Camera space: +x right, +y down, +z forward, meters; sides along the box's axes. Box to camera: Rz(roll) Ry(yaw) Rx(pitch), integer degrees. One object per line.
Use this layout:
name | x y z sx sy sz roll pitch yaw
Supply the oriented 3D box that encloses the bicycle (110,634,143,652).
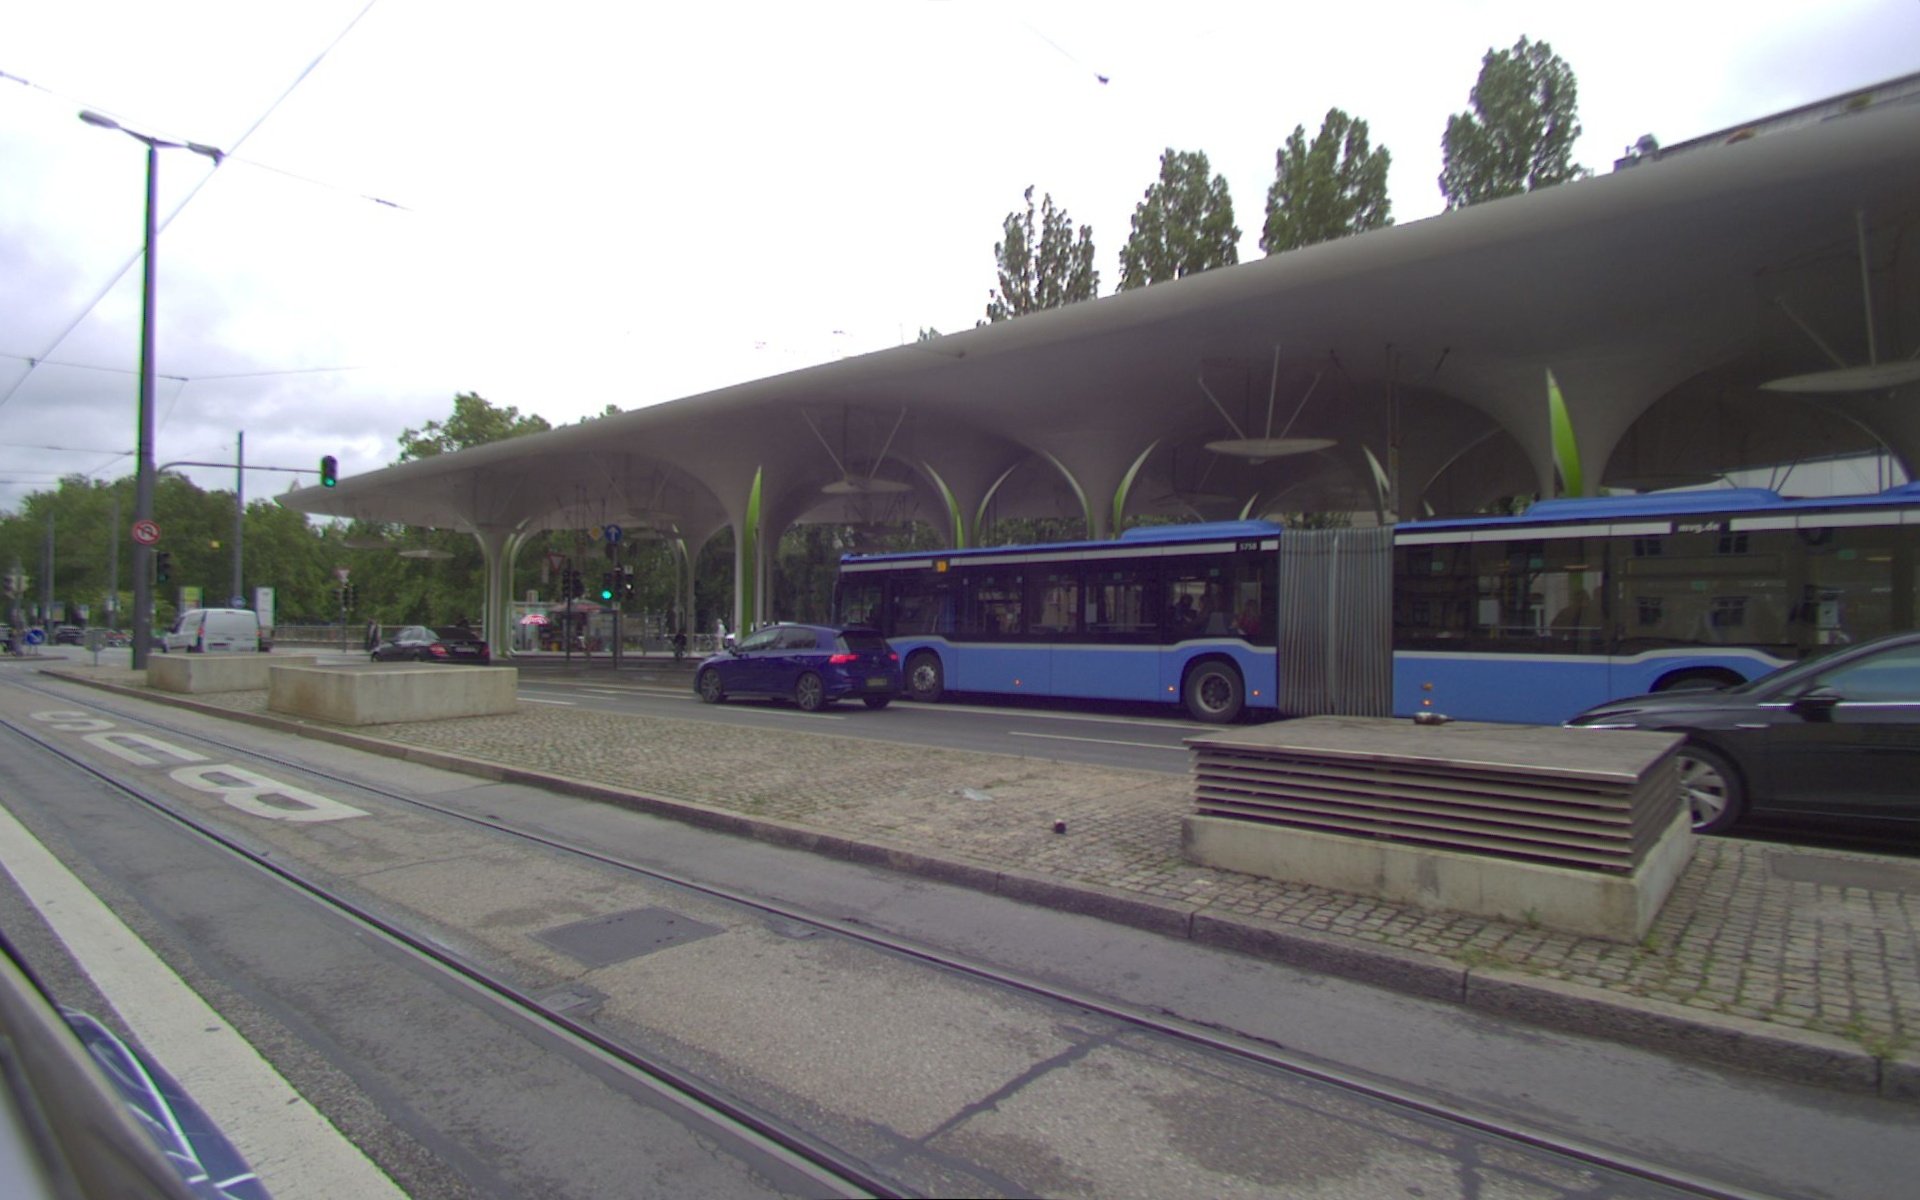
bicycle | -57.901 2.985 70.295 0.560 1.181 1.675 -1 -2 31

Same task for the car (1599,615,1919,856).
car | 6.577 0.815 6.482 4.030 1.427 1.825 -1 -2 38

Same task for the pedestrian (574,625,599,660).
pedestrian | -17.727 2.016 48.030 0.831 1.622 0.745 0 -2 13

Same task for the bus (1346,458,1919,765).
bus | 8.912 0.215 12.253 7.510 3.031 2.632 -2 -4 42

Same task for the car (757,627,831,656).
car | -9.732 2.404 59.358 3.937 1.628 1.833 1 -2 -41

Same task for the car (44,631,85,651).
car | -72.907 3.336 82.409 4.099 1.582 1.973 -2 -2 41

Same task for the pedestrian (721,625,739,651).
pedestrian | -16.805 2.792 74.020 0.981 1.881 0.899 -2 -2 41

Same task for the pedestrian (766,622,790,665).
pedestrian | -6.720 1.592 37.368 0.633 1.557 0.589 -1 -2 23

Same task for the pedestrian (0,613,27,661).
pedestrian | -36.864 1.423 39.147 0.891 1.825 0.855 0 -1 21

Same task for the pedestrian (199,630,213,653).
pedestrian | -50.633 2.794 67.943 0.588 1.570 0.624 -2 -3 40

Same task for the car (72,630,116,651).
car | -65.066 3.052 76.018 4.230 1.537 1.840 -2 -3 41

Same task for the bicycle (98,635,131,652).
bicycle | -59.469 3.027 71.157 0.560 1.181 1.675 -1 -2 31

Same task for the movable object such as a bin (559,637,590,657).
movable object such as a bin | -21.237 2.591 55.761 0.956 1.092 1.319 -2 -2 40

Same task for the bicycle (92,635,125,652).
bicycle | -60.505 3.055 71.916 0.504 1.181 1.674 -2 -2 34

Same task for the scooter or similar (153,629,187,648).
scooter or similar | -51.201 2.470 65.612 0.561 1.181 1.671 -1 -2 38

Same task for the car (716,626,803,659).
car | -12.198 2.554 61.711 4.852 1.962 1.874 2 -2 -39

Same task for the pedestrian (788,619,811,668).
pedestrian | -5.769 1.569 36.403 0.661 1.741 0.813 1 -2 -20

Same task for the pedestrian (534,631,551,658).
pedestrian | -24.495 2.605 59.376 0.728 1.612 0.799 1 -2 -34

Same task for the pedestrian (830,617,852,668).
pedestrian | -4.468 1.599 37.914 0.701 1.887 0.881 0 -2 -14

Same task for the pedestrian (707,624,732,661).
pedestrian | -13.533 2.391 56.992 0.989 2.029 1.028 2 -2 -41

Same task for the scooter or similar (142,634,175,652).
scooter or similar | -53.716 2.873 67.832 0.558 1.181 1.681 -1 -2 22

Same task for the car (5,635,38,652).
car | -89.014 4.103 95.960 3.998 1.542 1.868 -2 -3 41

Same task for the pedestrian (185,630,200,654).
pedestrian | -50.973 2.803 67.192 0.588 1.570 0.624 -2 -3 40

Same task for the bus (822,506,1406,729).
bus | 2.101 0.396 18.144 10.506 3.031 2.633 -1 -4 40

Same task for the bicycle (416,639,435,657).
bicycle | -29.107 2.603 55.089 0.473 0.901 1.852 1 -2 -41

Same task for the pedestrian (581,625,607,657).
pedestrian | -20.482 2.265 56.658 0.956 1.776 1.018 -2 -2 41

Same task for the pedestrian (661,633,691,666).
pedestrian | -10.801 1.863 38.434 0.799 1.239 1.274 1 -2 -30

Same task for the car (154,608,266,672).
car | -23.457 1.256 31.597 4.213 1.869 1.768 -1 -3 39

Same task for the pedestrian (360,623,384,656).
pedestrian | -29.546 1.978 50.879 0.737 1.641 0.734 -1 -2 20

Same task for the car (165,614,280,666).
car | -28.977 1.566 39.677 6.150 1.902 2.153 -1 -3 40

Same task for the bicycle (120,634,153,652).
bicycle | -56.796 2.956 69.796 0.560 1.181 1.675 -1 -2 31

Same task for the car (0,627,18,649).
car | -73.114 2.866 76.679 4.673 1.651 1.844 -1 -4 40

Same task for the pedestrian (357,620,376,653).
pedestrian | -31.729 1.935 54.122 0.725 1.729 0.862 1 -2 -38

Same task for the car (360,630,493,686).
car | -14.855 1.542 28.081 4.609 1.389 1.656 -1 -1 40

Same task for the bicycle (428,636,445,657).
bicycle | -28.676 2.520 55.426 0.472 1.104 1.853 1 -2 -38

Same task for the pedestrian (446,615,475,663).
pedestrian | -19.716 1.537 39.945 0.801 1.853 0.664 0 -2 8

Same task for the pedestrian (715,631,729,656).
pedestrian | -15.372 2.772 65.333 0.636 1.594 0.627 -2 -2 41

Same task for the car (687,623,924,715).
car | -2.758 1.128 17.552 4.228 1.406 1.661 -1 -3 39

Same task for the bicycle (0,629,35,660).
bicycle | -37.094 1.720 38.961 0.502 1.159 2.216 0 0 20

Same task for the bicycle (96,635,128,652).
bicycle | -59.930 3.039 71.517 0.504 1.181 1.674 -1 -2 33

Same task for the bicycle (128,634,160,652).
bicycle | -54.901 2.905 68.110 0.556 1.181 1.687 -1 -2 11
